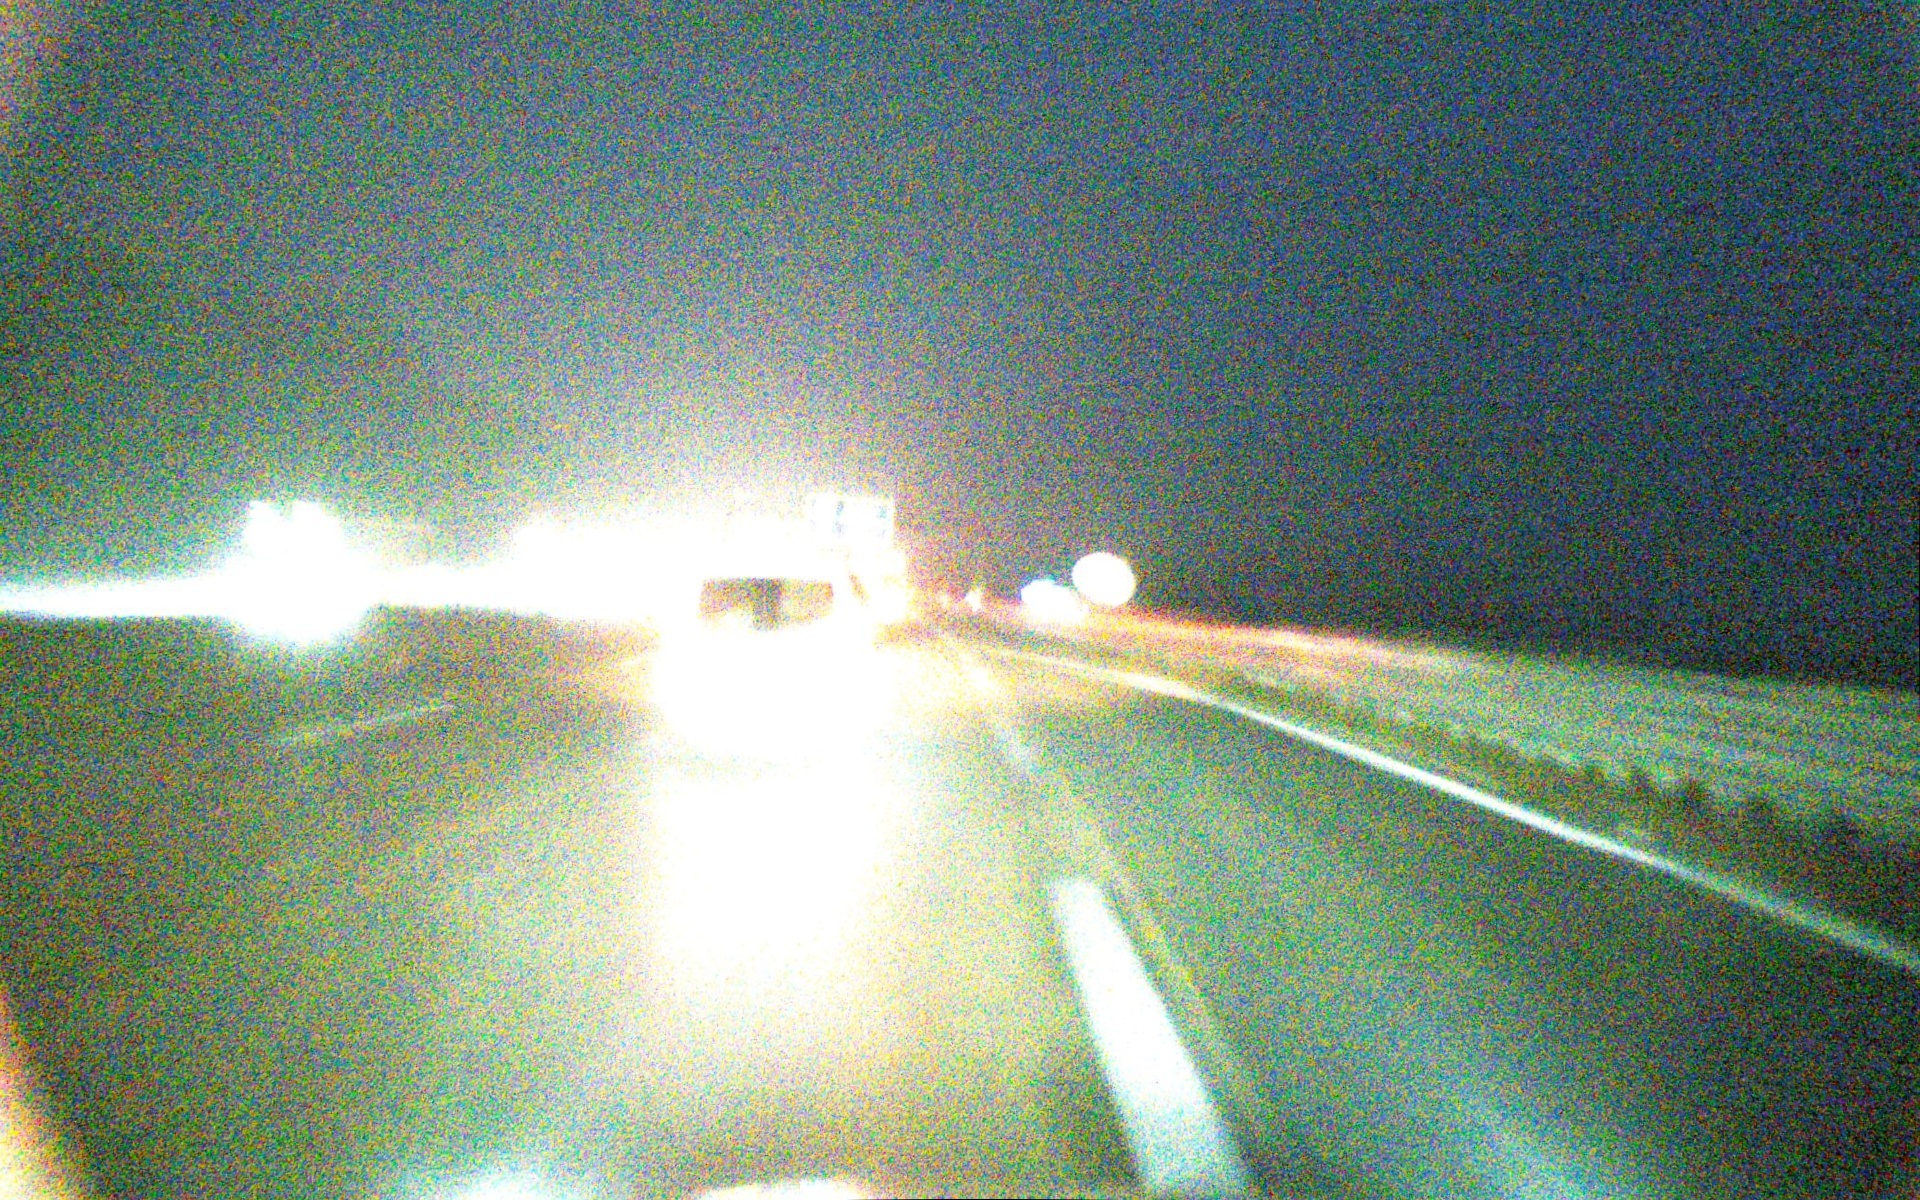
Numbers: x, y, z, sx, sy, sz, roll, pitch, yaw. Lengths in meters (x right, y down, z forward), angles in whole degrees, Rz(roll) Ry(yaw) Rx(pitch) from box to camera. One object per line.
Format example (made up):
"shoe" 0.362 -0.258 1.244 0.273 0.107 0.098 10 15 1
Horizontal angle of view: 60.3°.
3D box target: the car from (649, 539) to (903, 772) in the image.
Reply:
"car" -1.563 0.451 15.839 1.913 1.823 5.123 2 0 -1

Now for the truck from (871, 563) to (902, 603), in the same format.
"truck" -9.675 -2.164 216.763 3.748 5.001 11.598 2 0 -3

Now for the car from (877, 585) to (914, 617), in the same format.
"car" -3.647 0.047 93.458 1.954 1.736 4.192 2 0 -4

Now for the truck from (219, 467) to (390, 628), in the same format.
"truck" -27.009 -2.057 68.623 4.083 6.235 7.343 2 0 -1

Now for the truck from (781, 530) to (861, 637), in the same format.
"truck" -7.892 -0.860 95.556 4.084 5.641 13.065 2 0 -3
